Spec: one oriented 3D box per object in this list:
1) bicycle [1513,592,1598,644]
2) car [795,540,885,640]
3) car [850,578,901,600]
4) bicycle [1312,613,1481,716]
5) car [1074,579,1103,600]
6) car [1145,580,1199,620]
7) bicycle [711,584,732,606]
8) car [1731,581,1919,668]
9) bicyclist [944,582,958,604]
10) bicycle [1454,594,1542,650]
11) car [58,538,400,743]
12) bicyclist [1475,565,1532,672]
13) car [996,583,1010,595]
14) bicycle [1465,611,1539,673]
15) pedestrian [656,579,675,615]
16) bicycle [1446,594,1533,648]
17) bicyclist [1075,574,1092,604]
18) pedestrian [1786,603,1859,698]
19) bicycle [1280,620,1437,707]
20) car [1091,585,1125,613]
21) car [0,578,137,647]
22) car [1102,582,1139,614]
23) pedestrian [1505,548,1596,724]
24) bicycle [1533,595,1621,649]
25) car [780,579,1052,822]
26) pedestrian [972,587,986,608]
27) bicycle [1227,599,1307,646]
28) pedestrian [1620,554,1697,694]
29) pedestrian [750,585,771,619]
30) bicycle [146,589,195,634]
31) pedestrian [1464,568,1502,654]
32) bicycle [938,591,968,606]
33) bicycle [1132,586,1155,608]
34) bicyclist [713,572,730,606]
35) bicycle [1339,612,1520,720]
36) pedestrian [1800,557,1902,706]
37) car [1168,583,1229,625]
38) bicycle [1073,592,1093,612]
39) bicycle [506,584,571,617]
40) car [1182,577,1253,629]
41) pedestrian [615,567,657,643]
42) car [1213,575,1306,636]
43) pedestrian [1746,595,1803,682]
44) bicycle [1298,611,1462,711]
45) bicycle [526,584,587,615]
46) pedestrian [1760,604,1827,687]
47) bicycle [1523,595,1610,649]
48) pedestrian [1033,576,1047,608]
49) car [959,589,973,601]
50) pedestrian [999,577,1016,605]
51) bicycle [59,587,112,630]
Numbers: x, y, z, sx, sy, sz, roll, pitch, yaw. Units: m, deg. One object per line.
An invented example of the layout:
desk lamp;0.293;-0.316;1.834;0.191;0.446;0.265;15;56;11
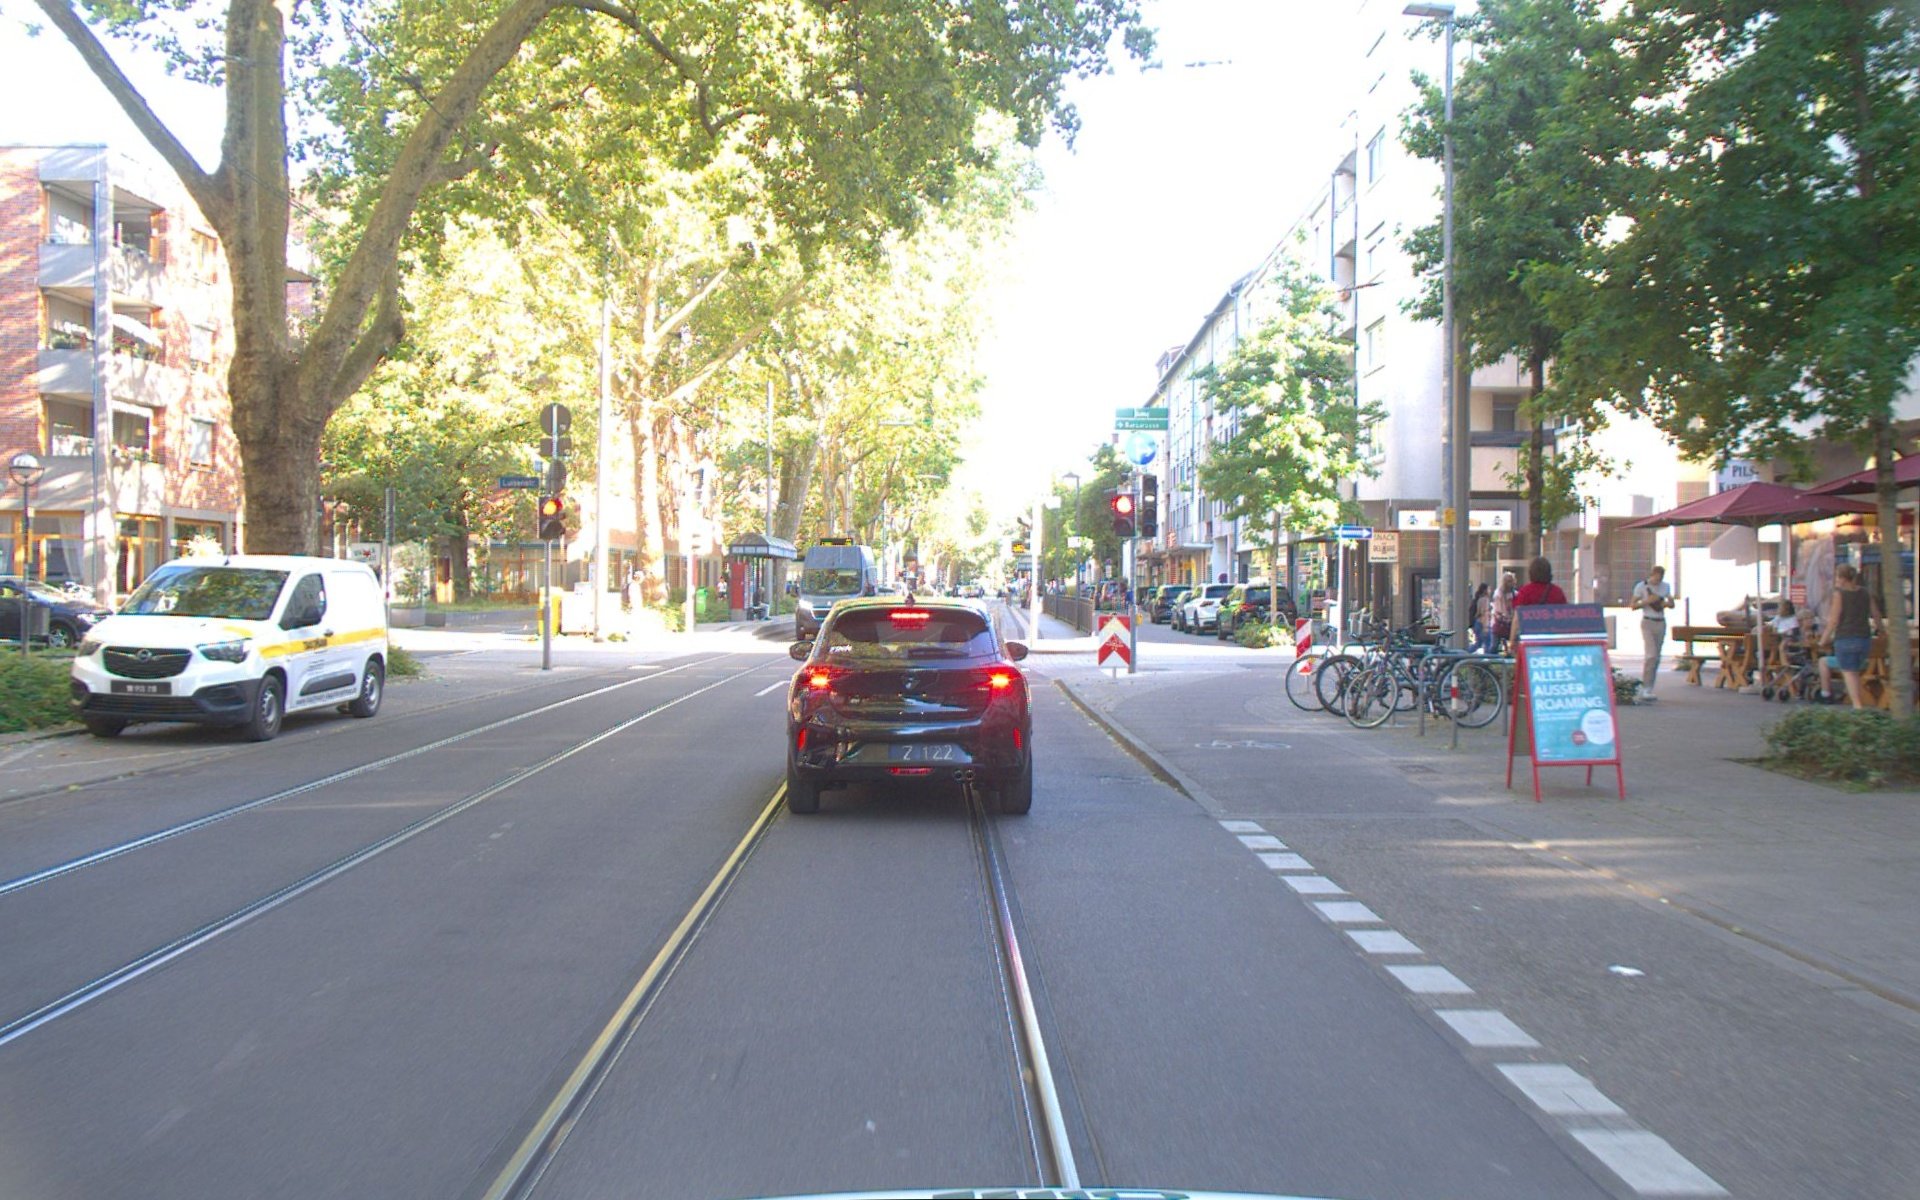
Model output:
bicycle;14.390;0.441;39.986;1.876;1.229;0.511;1;-1;-3
car;-3.484;-0.281;49.242;2.070;2.786;6.115;-1;0;1
car;-6.939;-0.906;135.812;4.034;1.730;1.881;1;0;-6
bicycle;4.916;0.724;18.659;1.781;1.119;0.480;1;0;-7
car;9.666;-0.756;124.622;1.952;1.512;4.001;1;0;1
car;9.080;-0.006;71.197;1.819;1.644;4.398;1;0;1
bicycle;-12.710;-0.258;88.133;0.766;1.130;2.595;1;0;-2
car;17.767;0.495;32.706;4.166;1.620;1.965;1;-1;-5
bicyclist;-0.767;-0.600;141.147;1.141;1.779;0.957;1;0;-4
bicycle;12.368;0.502;38.047;1.876;1.228;0.511;-1;1;-3
car;-7.530;0.373;17.546;1.727;1.883;4.317;1;0;-1
bicyclist;9.024;0.302;27.485;0.663;1.747;0.965;1;0;3
car;5.652;-1.420;216.648;1.710;1.571;4.000;1;0;0
bicycle;9.024;0.685;27.623;0.663;0.980;2.023;1;0;3
pedestrian;-14.093;-0.138;79.127;0.720;1.701;0.861;1;0;1
bicycle;12.342;0.479;38.575;1.876;1.228;0.511;-1;1;-3
bicyclist;7.539;-0.684;101.278;0.844;1.790;1.052;1;0;-5
pedestrian;11.131;0.645;21.355;0.645;1.195;0.522;1;0;-1
bicycle;4.830;0.763;20.067;1.778;1.011;0.481;1;0;-2
car;10.042;-0.048;112.296;1.952;1.829;4.000;1;0;0
car;-21.736;0.262;38.728;3.905;1.534;2.000;1;0;0
car;10.229;-0.123;105.770;1.952;1.986;4.000;1;0;0
pedestrian;6.247;0.364;17.481;0.857;1.789;1.048;1;0;20
bicycle;14.439;0.512;38.711;1.876;1.228;0.511;1;1;-3
car;-0.305;0.634;12.349;1.724;1.534;3.682;0;0;-1
pedestrian;1.592;-0.202;138.602;1.141;1.779;0.957;1;0;-4
bicycle;8.297;0.599;44.751;2.081;1.208;0.681;1;0;9
pedestrian;9.285;0.312;22.015;0.578;1.815;0.995;1;0;-1
pedestrian;-7.154;0.080;59.355;0.691;1.189;0.659;-1;0;-2
bicycle;-21.104;0.297;44.221;0.530;1.103;1.639;1;2;0
pedestrian;9.886;0.210;31.269;0.539;1.589;0.645;1;-1;5
bicycle;-0.610;-0.136;141.160;2.431;1.262;0.957;1;0;-4
bicycle;10.160;-0.166;91.521;0.610;1.156;2.434;1;0;-10
bicyclist;-12.697;-0.565;88.033;0.759;1.780;0.997;1;0;-1
bicycle;4.984;0.695;17.610;1.778;1.119;0.525;0;0;0
pedestrian;10.359;0.358;19.250;0.665;1.688;0.811;1;0;-13
car;8.728;0.150;60.833;1.708;1.465;4.248;1;0;1
bicycle;7.522;0.128;101.225;0.844;1.156;2.393;1;0;-5
bicycle;-17.092;0.007;67.127;2.407;1.240;0.682;2;0;2
car;8.538;0.105;55.183;1.762;1.634;4.416;1;0;1
pedestrian;-8.128;0.115;41.532;0.905;1.867;0.920;1;2;-3
car;8.593;0.150;47.828;1.952;1.644;4.446;-2;0;1
pedestrian;12.477;0.586;25.337;0.524;1.310;0.716;1;0;2
bicycle;4.864;0.705;19.172;1.781;1.119;0.497;1;0;-7
bicycle;-16.594;-0.019;68.059;2.292;1.186;0.682;2;0;2
pedestrian;11.182;0.602;22.206;0.629;1.097;0.522;1;0;-1
bicycle;14.410;0.515;39.322;1.876;1.229;0.511;1;0;-3
pedestrian;4.127;-0.405;85.261;0.618;1.603;0.871;2;1;1
car;0.753;-0.649;215.546;1.710;1.571;4.000;1;0;0
pedestrian;3.000;-0.574;104.132;0.737;1.739;0.760;1;0;36
bicycle;-23.378;0.218;44.241;0.530;1.103;1.639;0;1;0
